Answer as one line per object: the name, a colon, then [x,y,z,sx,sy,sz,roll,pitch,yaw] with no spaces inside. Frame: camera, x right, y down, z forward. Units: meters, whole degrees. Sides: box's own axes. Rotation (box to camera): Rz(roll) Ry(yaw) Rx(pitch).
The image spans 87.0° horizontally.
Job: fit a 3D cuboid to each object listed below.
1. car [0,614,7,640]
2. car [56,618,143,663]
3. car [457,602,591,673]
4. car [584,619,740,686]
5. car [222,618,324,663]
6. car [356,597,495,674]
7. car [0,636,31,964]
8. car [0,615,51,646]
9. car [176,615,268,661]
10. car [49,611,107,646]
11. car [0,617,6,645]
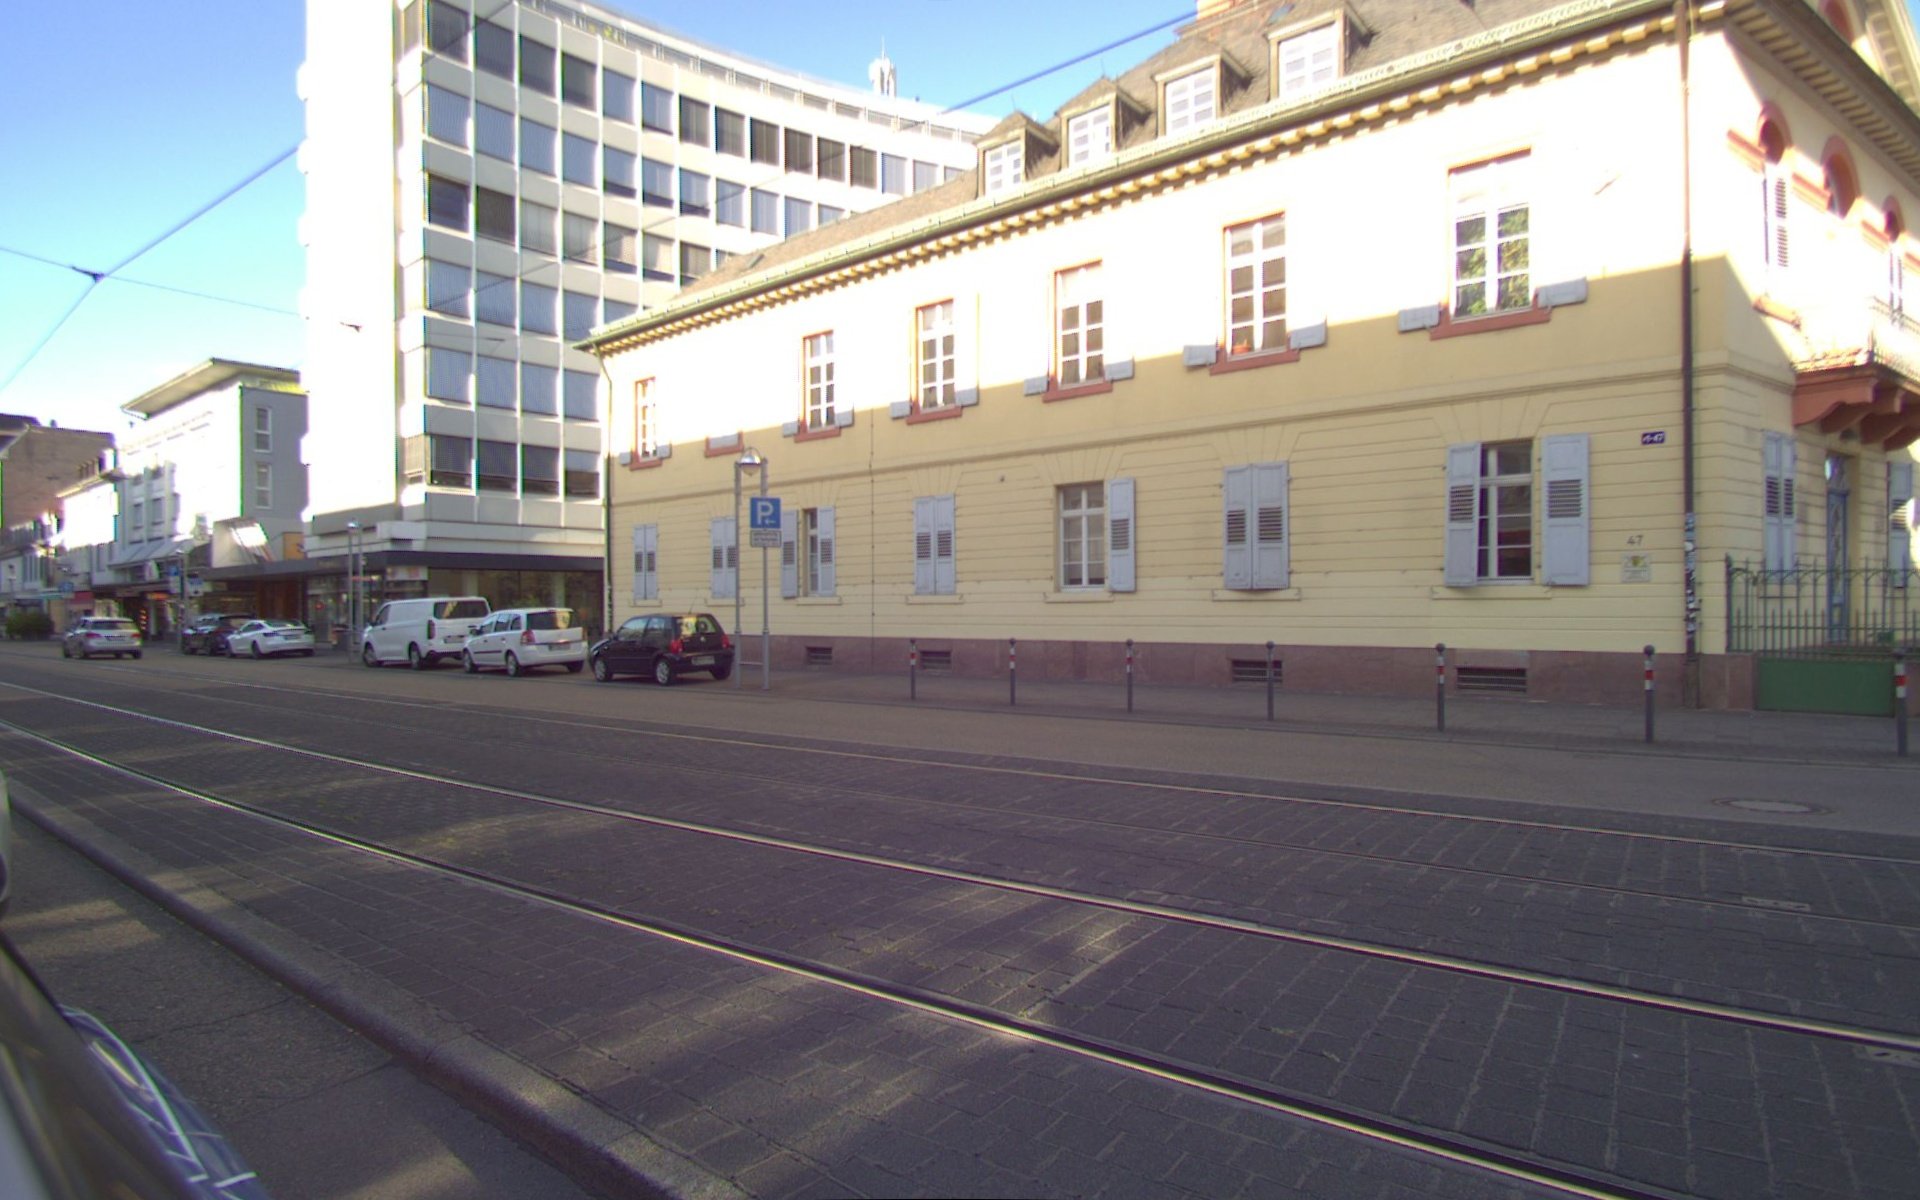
car: [-78.801,2.204,81.833,3.995,2.029,1.974,-1,0,38]
car: [-32.254,1.493,37.913,3.994,1.609,1.739,-1,-1,38]
car: [-10.987,0.893,25.363,4.005,1.621,1.619,-1,0,43]
car: [-6.358,1.061,21.474,3.210,1.263,1.667,-1,0,39]
car: [-25.601,1.448,37.646,4.369,1.541,1.974,-1,0,39]
car: [-15.350,0.973,28.946,4.619,2.029,2.014,-1,-1,41]
car: [-6.203,0.888,4.838,3.992,1.393,1.862,-1,0,36]
car: [-62.910,2.032,67.958,3.996,2.058,2.172,-1,-1,39]
car: [-29.907,1.494,40.961,4.103,1.717,1.975,-1,0,38]
car: [-50.311,1.620,57.710,3.995,1.896,1.768,-1,-1,38]
car: [-71.589,2.275,74.234,3.998,2.029,1.973,-1,-1,41]
